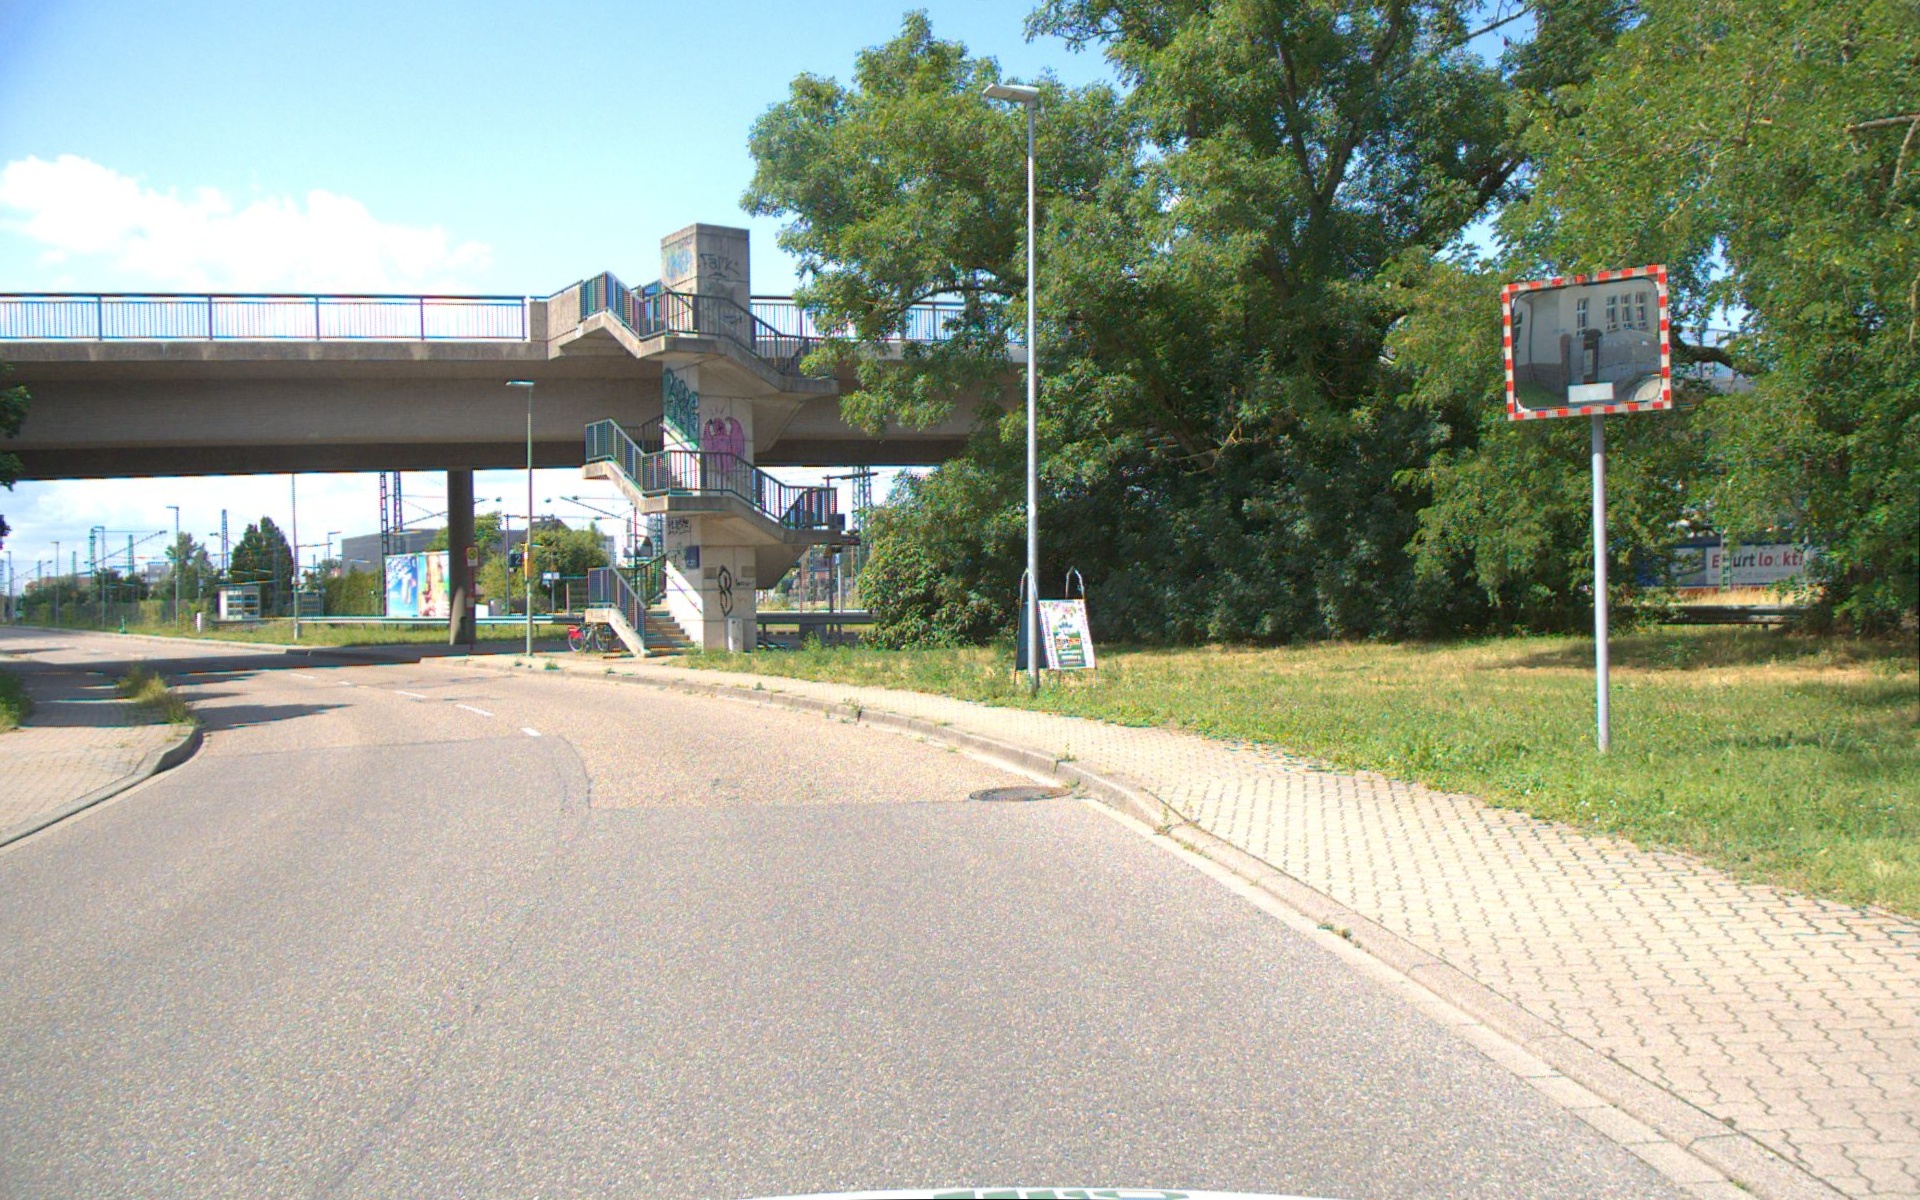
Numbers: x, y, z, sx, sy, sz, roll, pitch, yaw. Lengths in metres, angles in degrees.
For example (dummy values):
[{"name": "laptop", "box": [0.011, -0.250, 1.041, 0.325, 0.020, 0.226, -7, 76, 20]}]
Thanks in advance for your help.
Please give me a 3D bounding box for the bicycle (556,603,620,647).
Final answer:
[{"name": "bicycle", "box": [-10.001, 0.683, 44.449, 0.640, 1.127, 2.156, -3, 1, -43]}]
